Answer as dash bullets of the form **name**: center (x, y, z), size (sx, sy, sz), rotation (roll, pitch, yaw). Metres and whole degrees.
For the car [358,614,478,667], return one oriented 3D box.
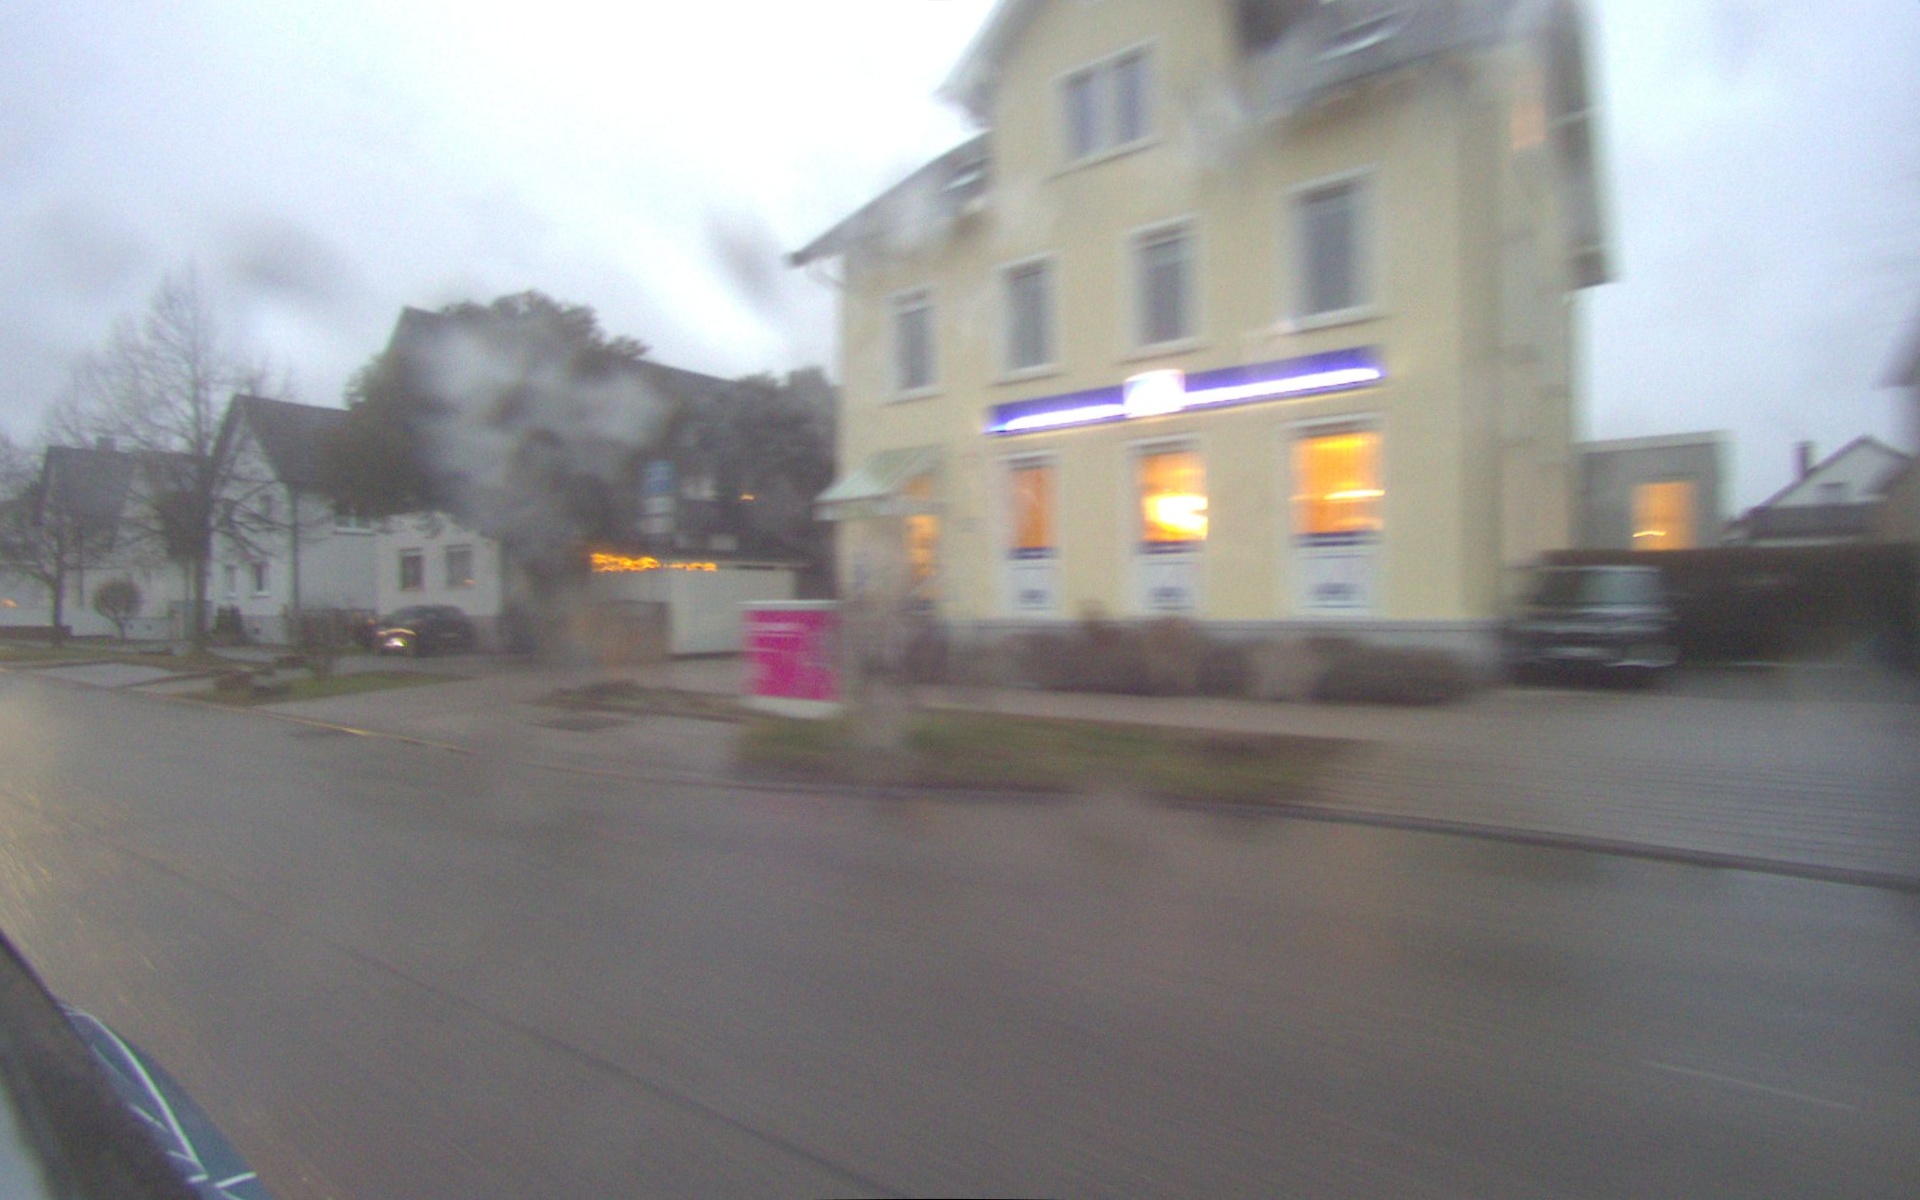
- **car**: center (-15.844, 1.125, 29.539), size (3.997, 1.376, 1.763), rotation (-1, 1, 41)

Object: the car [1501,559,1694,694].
- **car**: center (9.047, 0.338, 14.212), size (1.919, 1.612, 3.949), rotation (-1, -1, 38)
